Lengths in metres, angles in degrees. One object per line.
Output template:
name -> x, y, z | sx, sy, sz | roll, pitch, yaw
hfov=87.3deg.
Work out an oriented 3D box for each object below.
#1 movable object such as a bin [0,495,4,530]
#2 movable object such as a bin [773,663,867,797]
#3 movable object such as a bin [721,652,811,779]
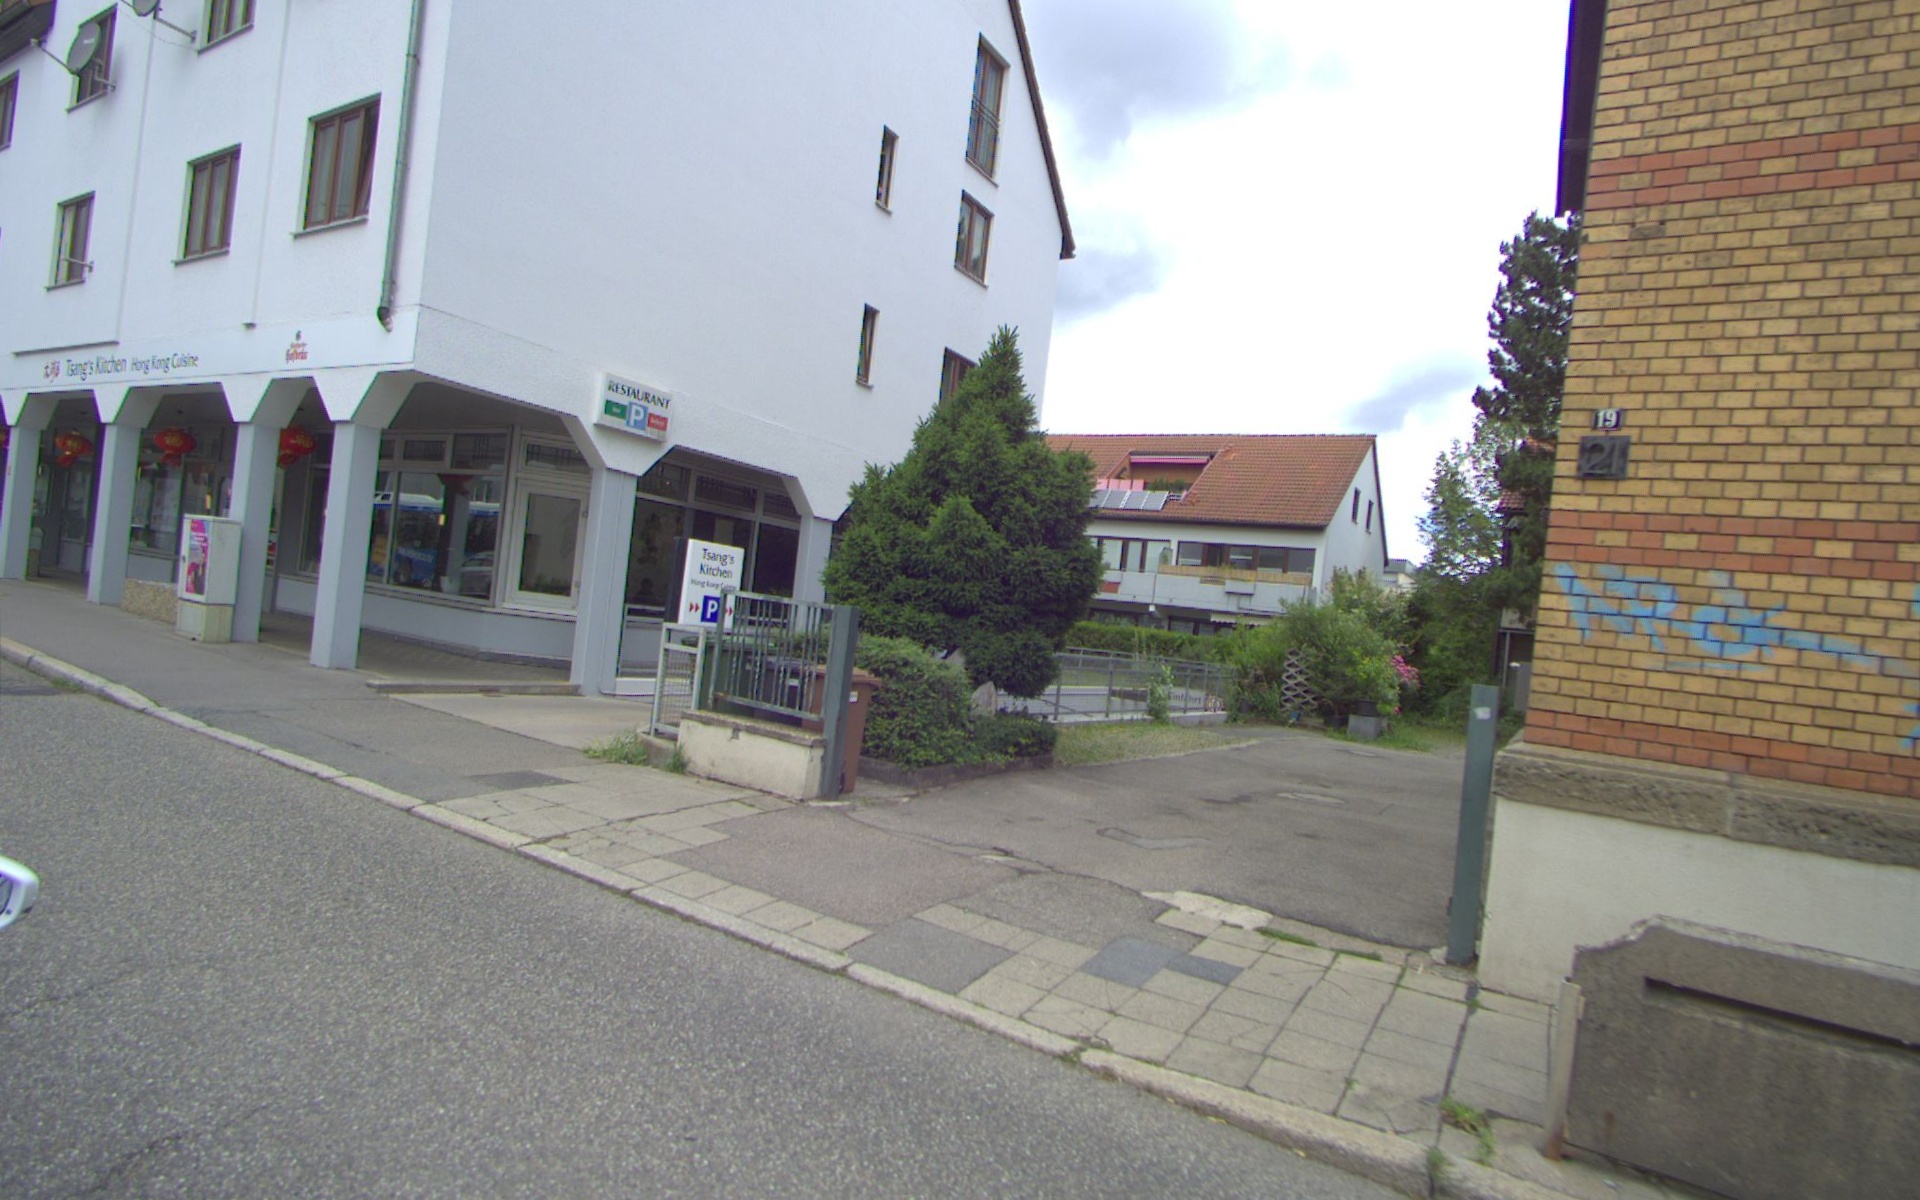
movable object such as a bin -> -30.352, -2.620, 30.832 | 1.239, 1.434, 1.210 | 7, 0, 35
movable object such as a bin -> -1.048, 0.962, 7.555 | 0.449, 0.915, 0.398 | 7, 0, 32
movable object such as a bin -> -1.524, 0.897, 7.916 | 0.449, 0.915, 0.398 | 7, 0, 32
